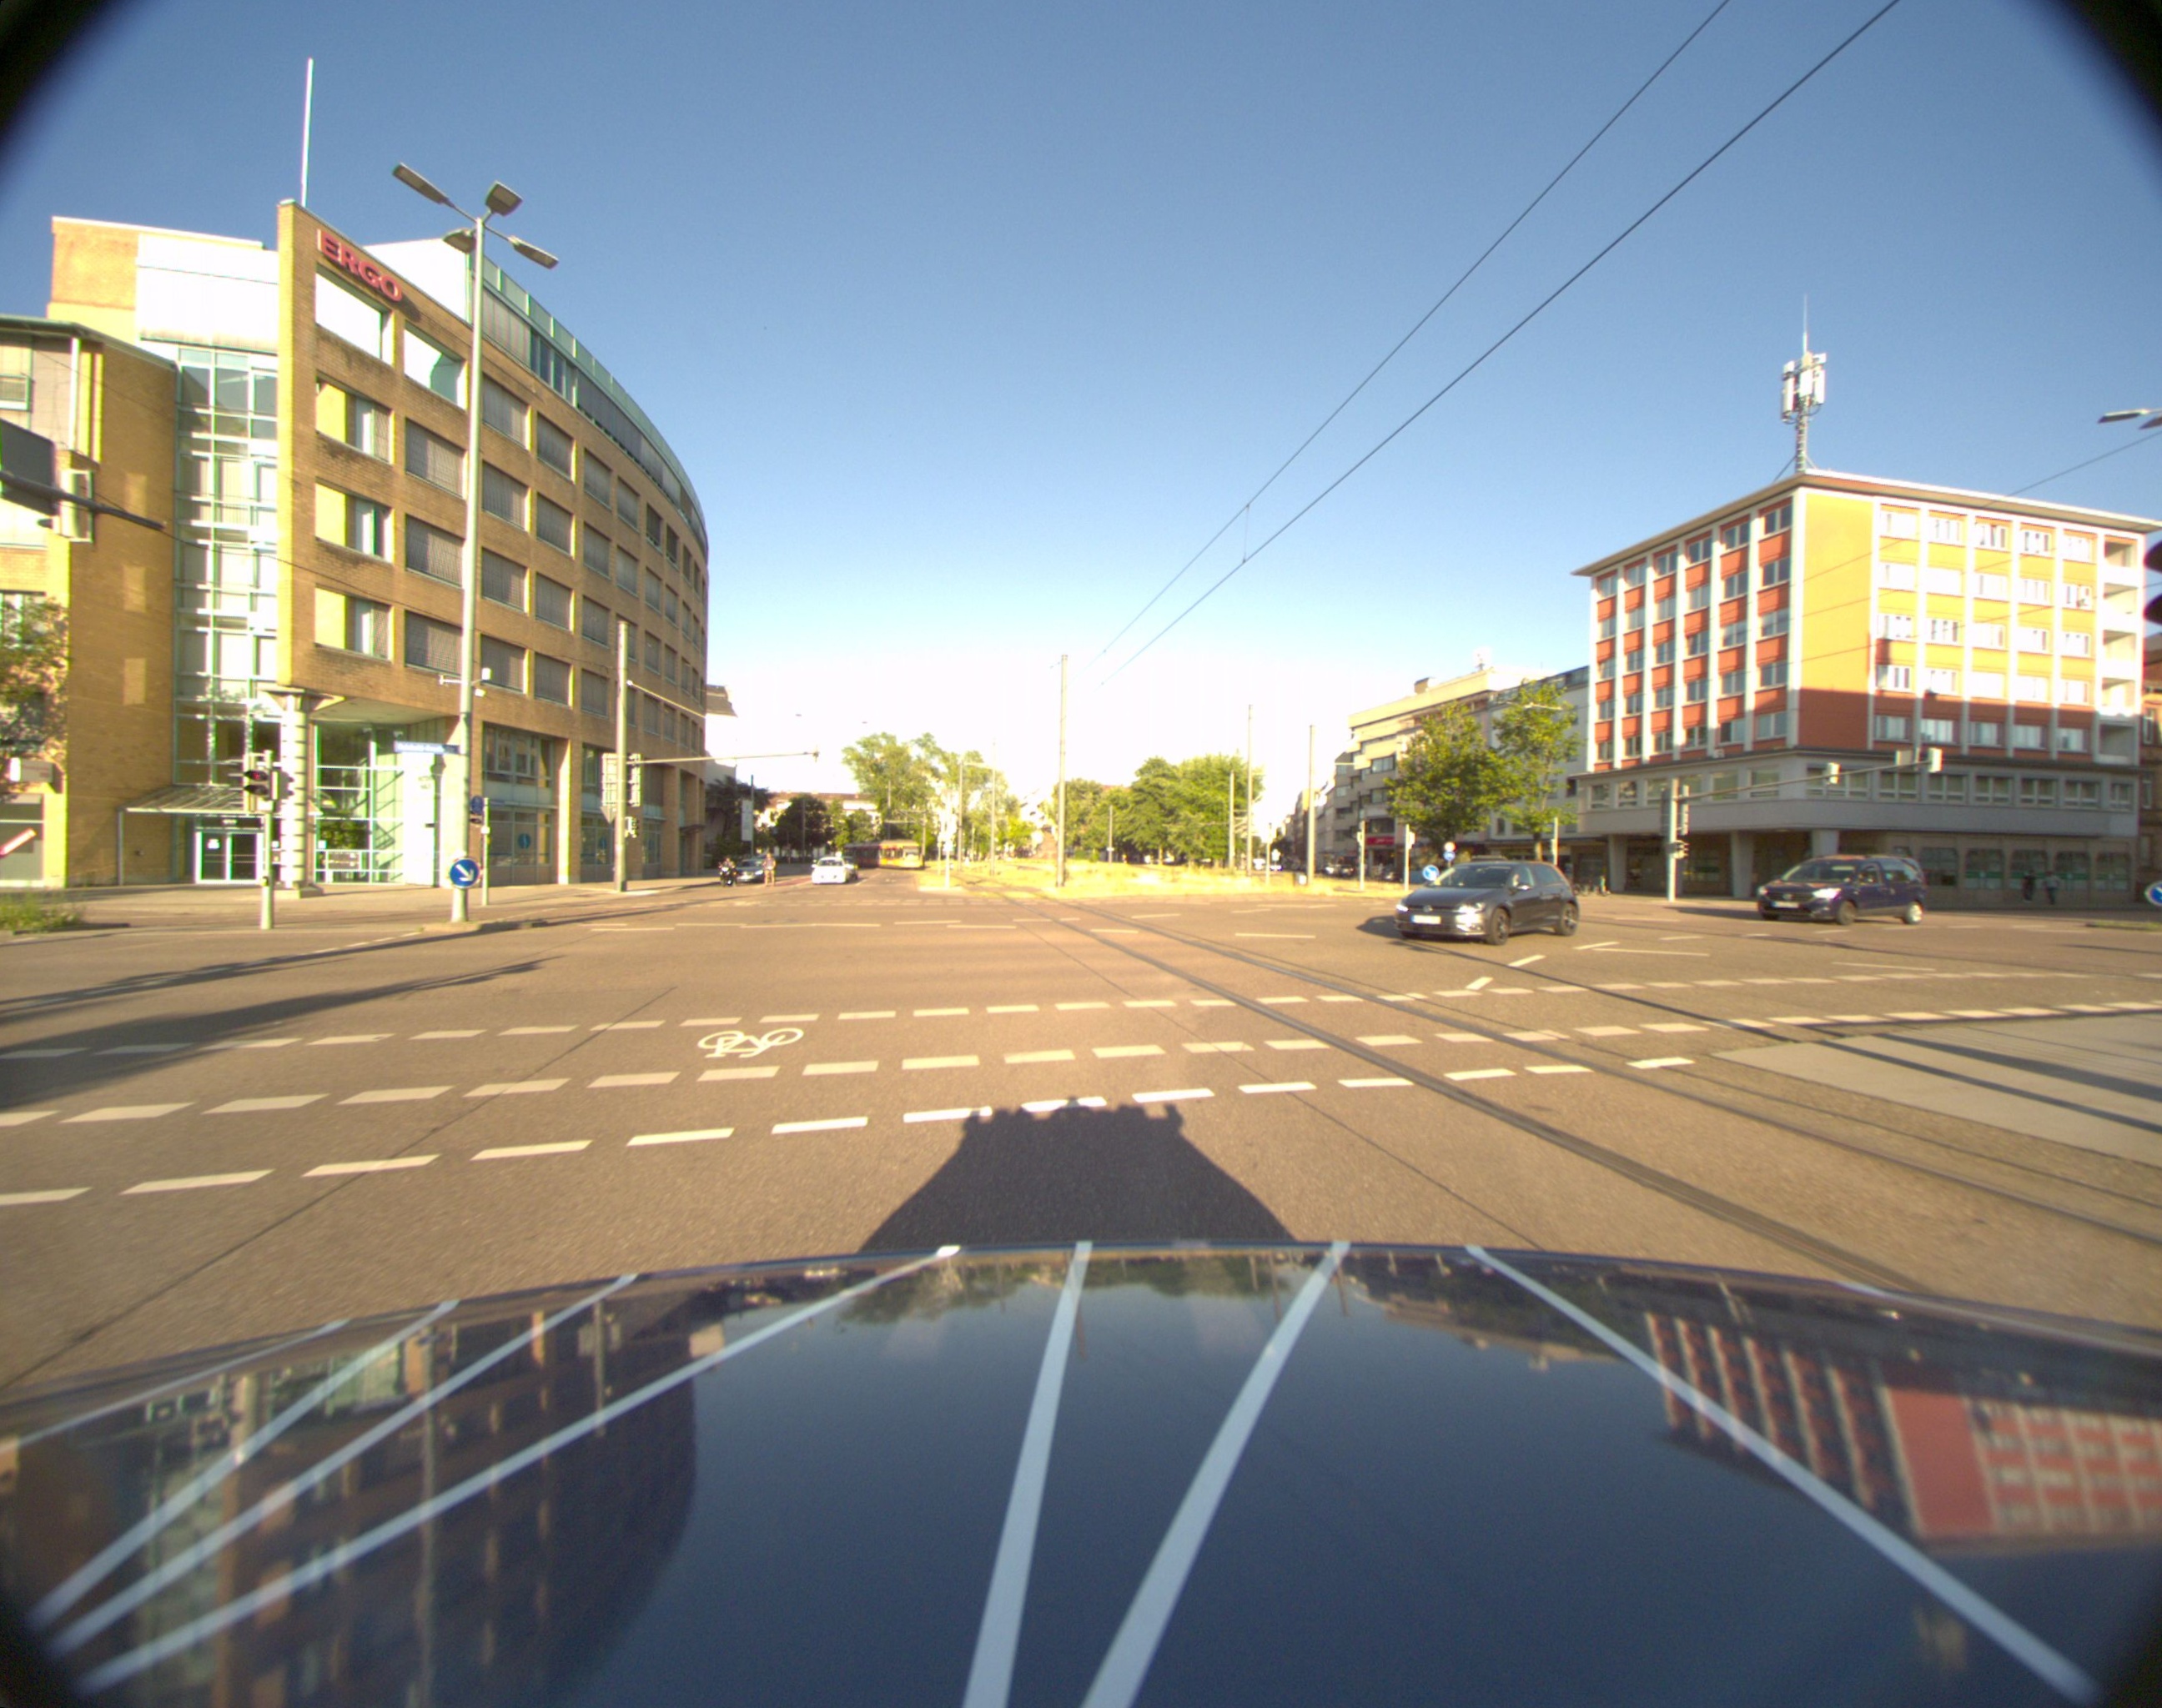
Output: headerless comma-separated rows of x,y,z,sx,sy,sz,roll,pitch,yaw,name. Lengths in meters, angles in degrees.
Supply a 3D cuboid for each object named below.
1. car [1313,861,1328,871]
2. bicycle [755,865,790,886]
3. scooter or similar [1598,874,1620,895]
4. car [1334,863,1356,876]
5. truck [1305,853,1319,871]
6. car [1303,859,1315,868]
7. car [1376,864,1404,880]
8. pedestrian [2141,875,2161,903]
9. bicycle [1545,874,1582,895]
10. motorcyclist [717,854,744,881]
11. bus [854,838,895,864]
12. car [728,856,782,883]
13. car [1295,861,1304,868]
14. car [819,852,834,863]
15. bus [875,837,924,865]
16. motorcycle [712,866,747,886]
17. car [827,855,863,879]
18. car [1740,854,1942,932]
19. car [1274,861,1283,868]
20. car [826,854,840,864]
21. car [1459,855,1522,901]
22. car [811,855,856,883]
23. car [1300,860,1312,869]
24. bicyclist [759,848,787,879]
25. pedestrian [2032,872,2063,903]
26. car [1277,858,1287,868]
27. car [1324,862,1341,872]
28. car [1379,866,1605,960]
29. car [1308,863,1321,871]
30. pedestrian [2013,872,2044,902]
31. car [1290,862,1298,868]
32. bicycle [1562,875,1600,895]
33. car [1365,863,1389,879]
37.528,1.879,119.153,1.737,1.376,3.627,1,0,10,car
-15.960,1.102,39.410,1.154,0.994,2.966,1,0,-12,bicycle
33.802,1.959,48.686,0.484,1.228,1.562,1,1,9,scooter or similar
32.944,1.879,94.847,1.961,1.547,3.877,1,0,10,car
42.482,1.447,139.935,1.737,3.201,6.413,1,0,10,truck
44.061,1.882,146.800,1.768,1.692,3.583,1,0,10,car
28.326,1.643,69.826,1.638,1.419,3.639,1,0,10,car
63.232,2.047,44.555,1.011,1.580,0.786,1,4,-11,pedestrian
29.259,1.849,46.092,0.594,1.108,2.004,1,2,-12,bicycle
-18.400,0.709,39.887,1.032,1.427,1.067,0,0,-11,motorcyclist
-27.103,-0.399,99.172,2.357,3.191,11.053,0,0,-30,bus
-19.538,0.874,45.744,1.986,1.528,4.492,0,0,-10,car
50.841,2.510,176.778,1.804,1.586,3.681,1,0,10,car
-40.697,0.548,121.397,1.845,1.807,3.995,1,0,-13,car
-21.503,-0.355,89.604,2.415,3.191,11.090,0,0,-31,bus
-18.402,1.146,39.877,1.032,0.958,2.724,1,0,-11,motorcycle
-15.288,0.815,49.442,1.821,1.483,4.060,0,0,-11,car
19.815,0.965,19.842,4.470,1.843,1.893,1,1,-19,car
46.429,2.465,178.856,1.647,1.803,3.492,1,0,10,car
-45.954,0.851,140.792,1.845,1.807,3.996,1,0,-9,car
17.198,0.928,32.097,1.995,1.713,5.039,0,1,24,car
-13.764,0.818,42.494,1.996,1.483,4.171,0,0,-12,car
45.376,2.038,153.282,1.768,1.692,3.583,1,0,10,car
-15.902,0.477,39.283,1.154,1.562,1.225,1,0,-12,bicyclist
54.128,1.885,42.549,1.011,1.716,0.668,1,1,-10,pedestrian
39.040,1.736,147.813,1.647,1.803,3.492,1,0,10,car
35.009,1.817,105.743,1.737,1.376,3.394,1,0,10,car
7.680,0.984,14.084,4.276,1.450,1.768,0,0,-31,car
40.603,2.201,132.402,1.737,1.376,3.627,1,0,10,car
53.938,1.876,43.250,1.011,1.716,0.668,1,1,-9,pedestrian
51.990,2.652,185.743,1.494,1.366,3.427,1,0,10,car
30.494,1.885,46.371,0.594,1.108,2.058,1,2,-14,bicycle
31.308,1.762,80.452,1.638,1.537,3.639,1,0,10,car
